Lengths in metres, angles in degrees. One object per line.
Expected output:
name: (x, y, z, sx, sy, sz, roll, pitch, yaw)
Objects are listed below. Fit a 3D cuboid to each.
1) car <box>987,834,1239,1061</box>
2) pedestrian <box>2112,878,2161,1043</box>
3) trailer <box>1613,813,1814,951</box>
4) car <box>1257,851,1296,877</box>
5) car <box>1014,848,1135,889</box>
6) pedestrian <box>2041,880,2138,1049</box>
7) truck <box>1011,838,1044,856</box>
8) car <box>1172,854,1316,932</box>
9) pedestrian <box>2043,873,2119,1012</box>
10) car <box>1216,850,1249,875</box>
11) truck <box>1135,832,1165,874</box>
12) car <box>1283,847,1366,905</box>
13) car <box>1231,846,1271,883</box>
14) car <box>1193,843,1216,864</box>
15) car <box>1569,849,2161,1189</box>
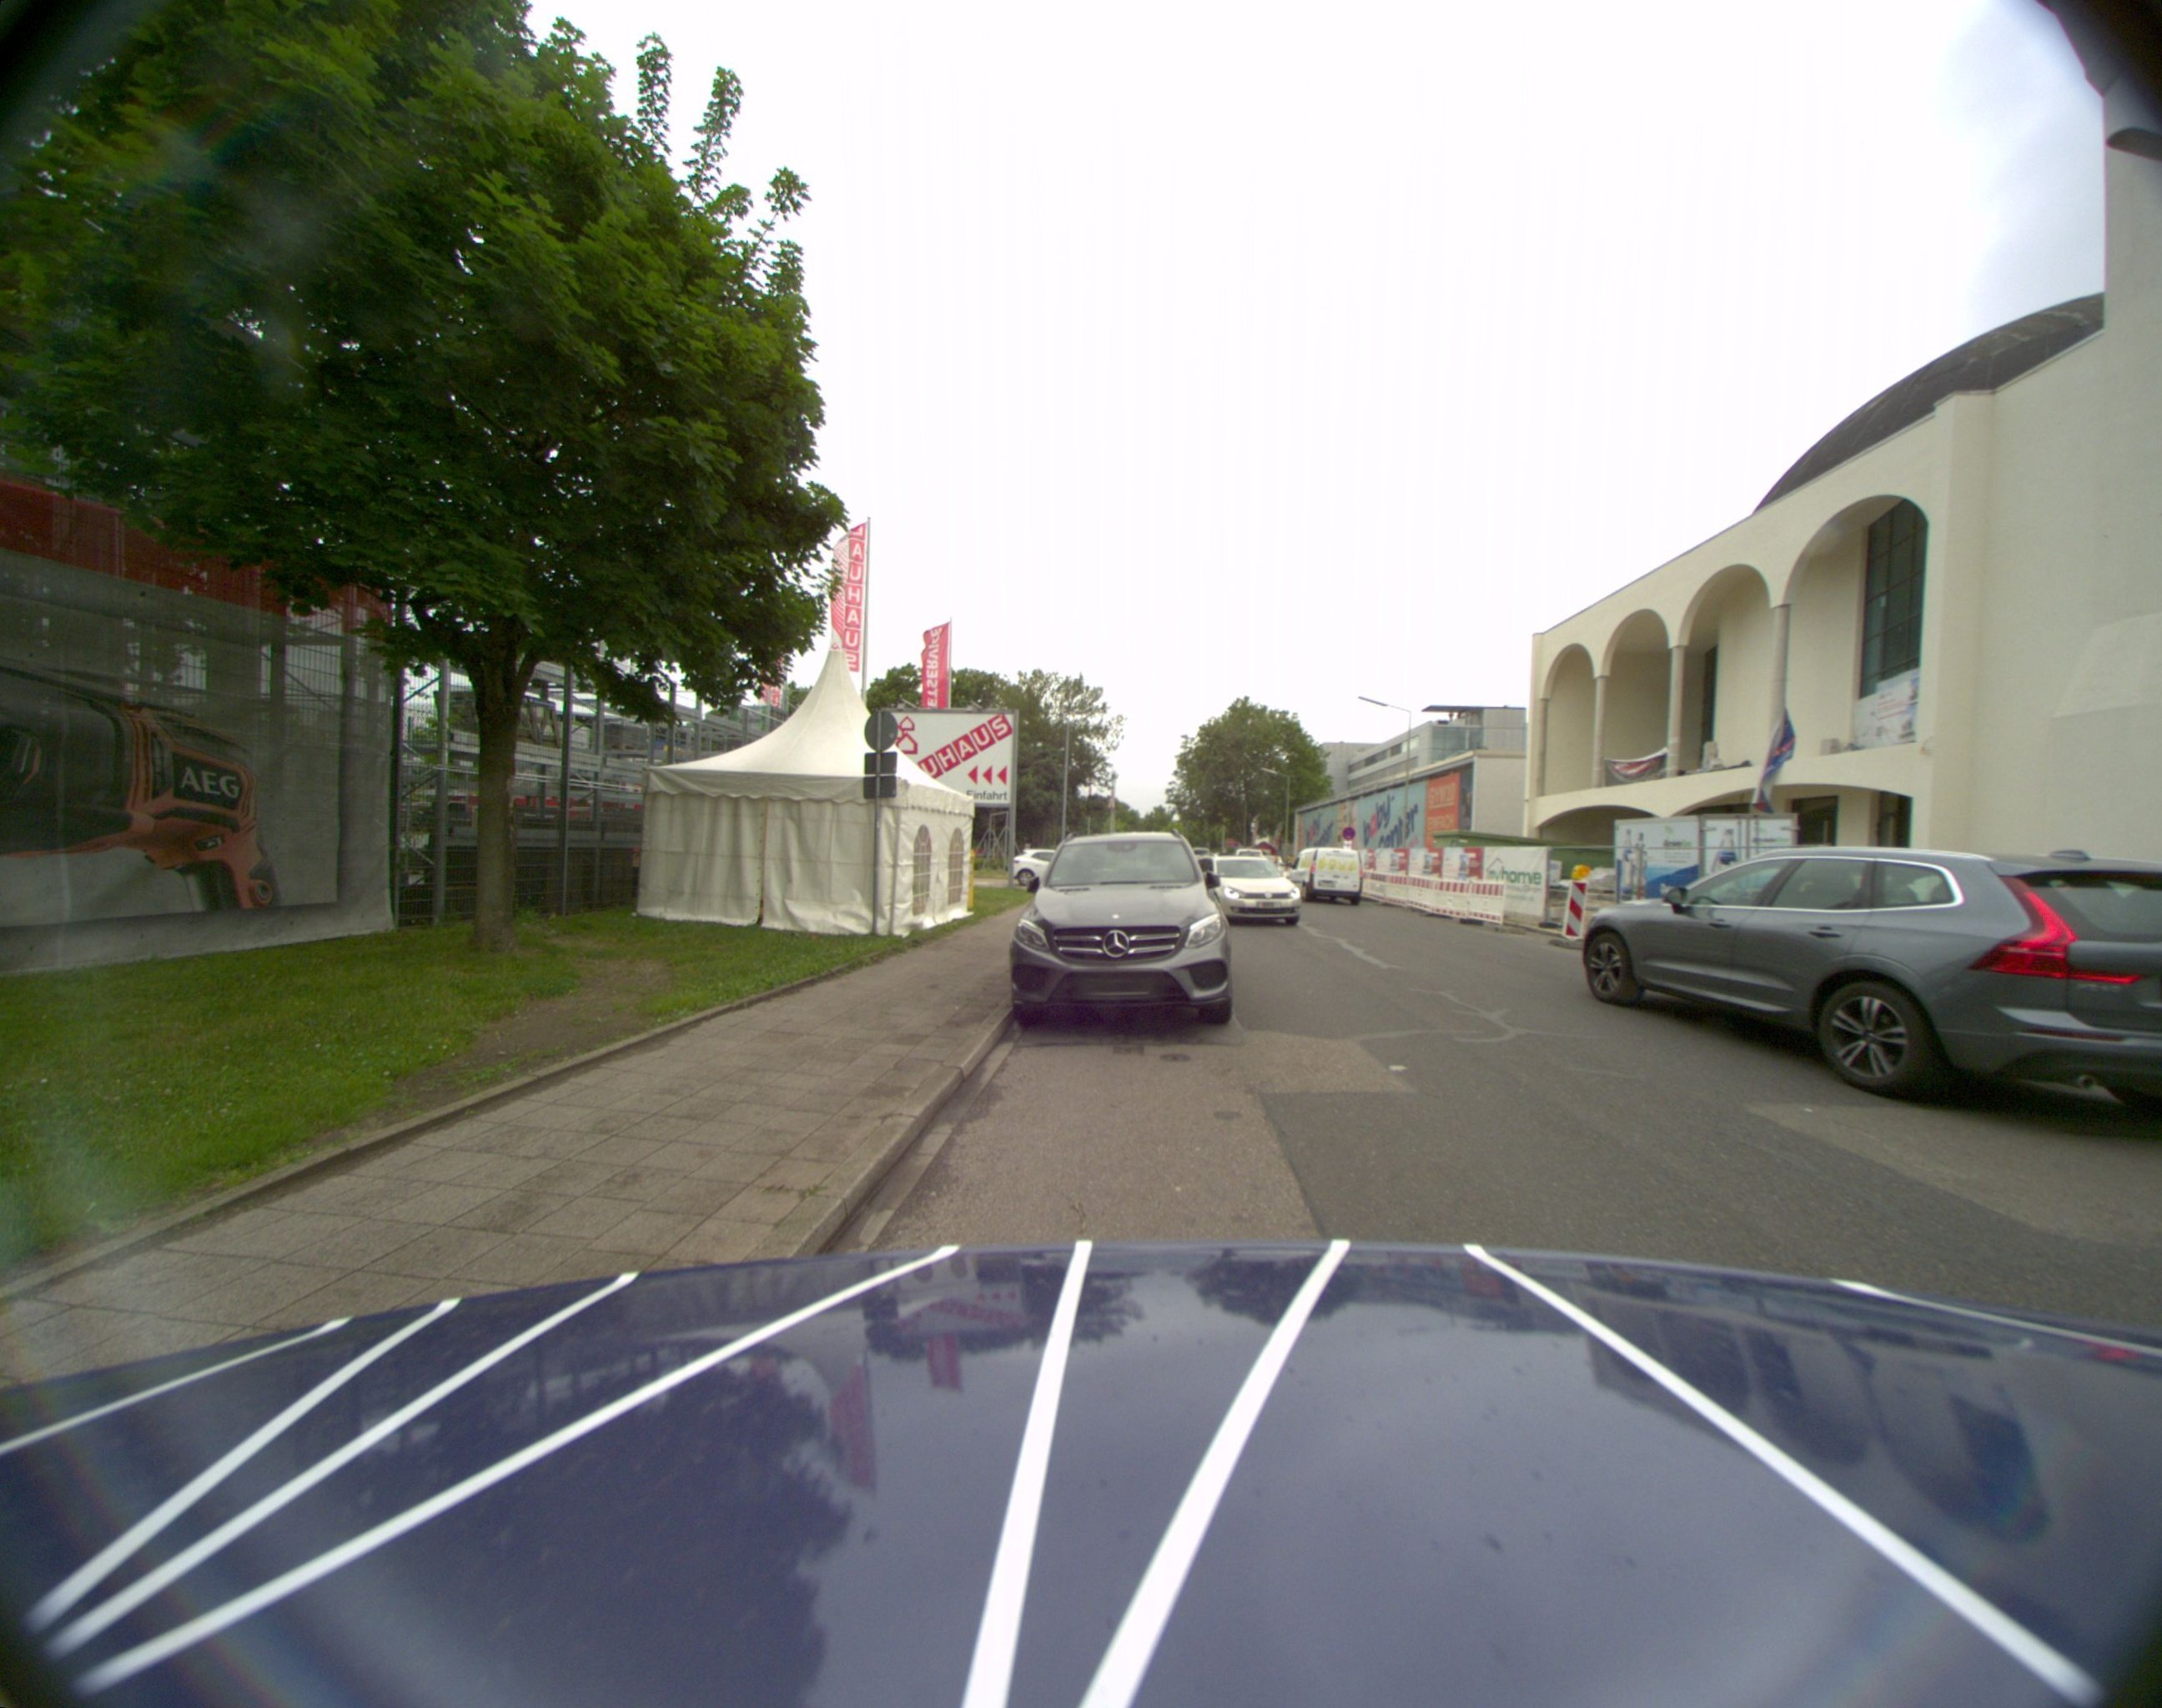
car: (0.474, 0.713, 8.102, 1.912, 1.731, 4.481, -1, 1, 6)
pedestrian: (11.594, 1.112, 8.055, 0.689, 1.707, 0.694, 0, -1, -40)
trailer: (13.301, 0.524, 16.261, 1.801, 2.592, 3.193, 2, 1, 8)
car: (13.390, 0.662, 52.222, 1.928, 1.565, 4.151, 5, 1, 6)
car: (-0.223, 0.532, 29.235, 4.491, 1.420, 1.939, 1, 2, 2)
pedestrian: (10.541, 1.114, 7.957, 0.534, 1.682, 0.512, 1, -2, -43)
truck: (-7.298, -0.912, 104.049, 4.009, 2.383, 1.994, 1, 1, -45)
car: (3.468, 0.774, 17.085, 1.759, 1.443, 4.293, 1, 1, -8)
pedestrian: (12.124, 1.047, 9.212, 0.542, 1.602, 0.489, 0, 1, -34)
car: (10.379, 0.548, 52.336, 1.732, 1.563, 3.948, 3, 1, 6)
truck: (4.574, -0.090, 50.390, 1.852, 2.598, 4.001, -1, 1, 5)
car: (8.111, 0.673, 25.664, 1.693, 1.751, 4.136, 2, 1, 5)
car: (9.321, 0.505, 41.890, 1.798, 1.797, 4.386, 3, 2, 9)
car: (12.455, -0.060, 77.043, 1.931, 2.002, 4.956, 2, 2, 6)
car: (6.185, 0.856, 6.026, 1.937, 1.674, 4.496, 3, 1, 5)
